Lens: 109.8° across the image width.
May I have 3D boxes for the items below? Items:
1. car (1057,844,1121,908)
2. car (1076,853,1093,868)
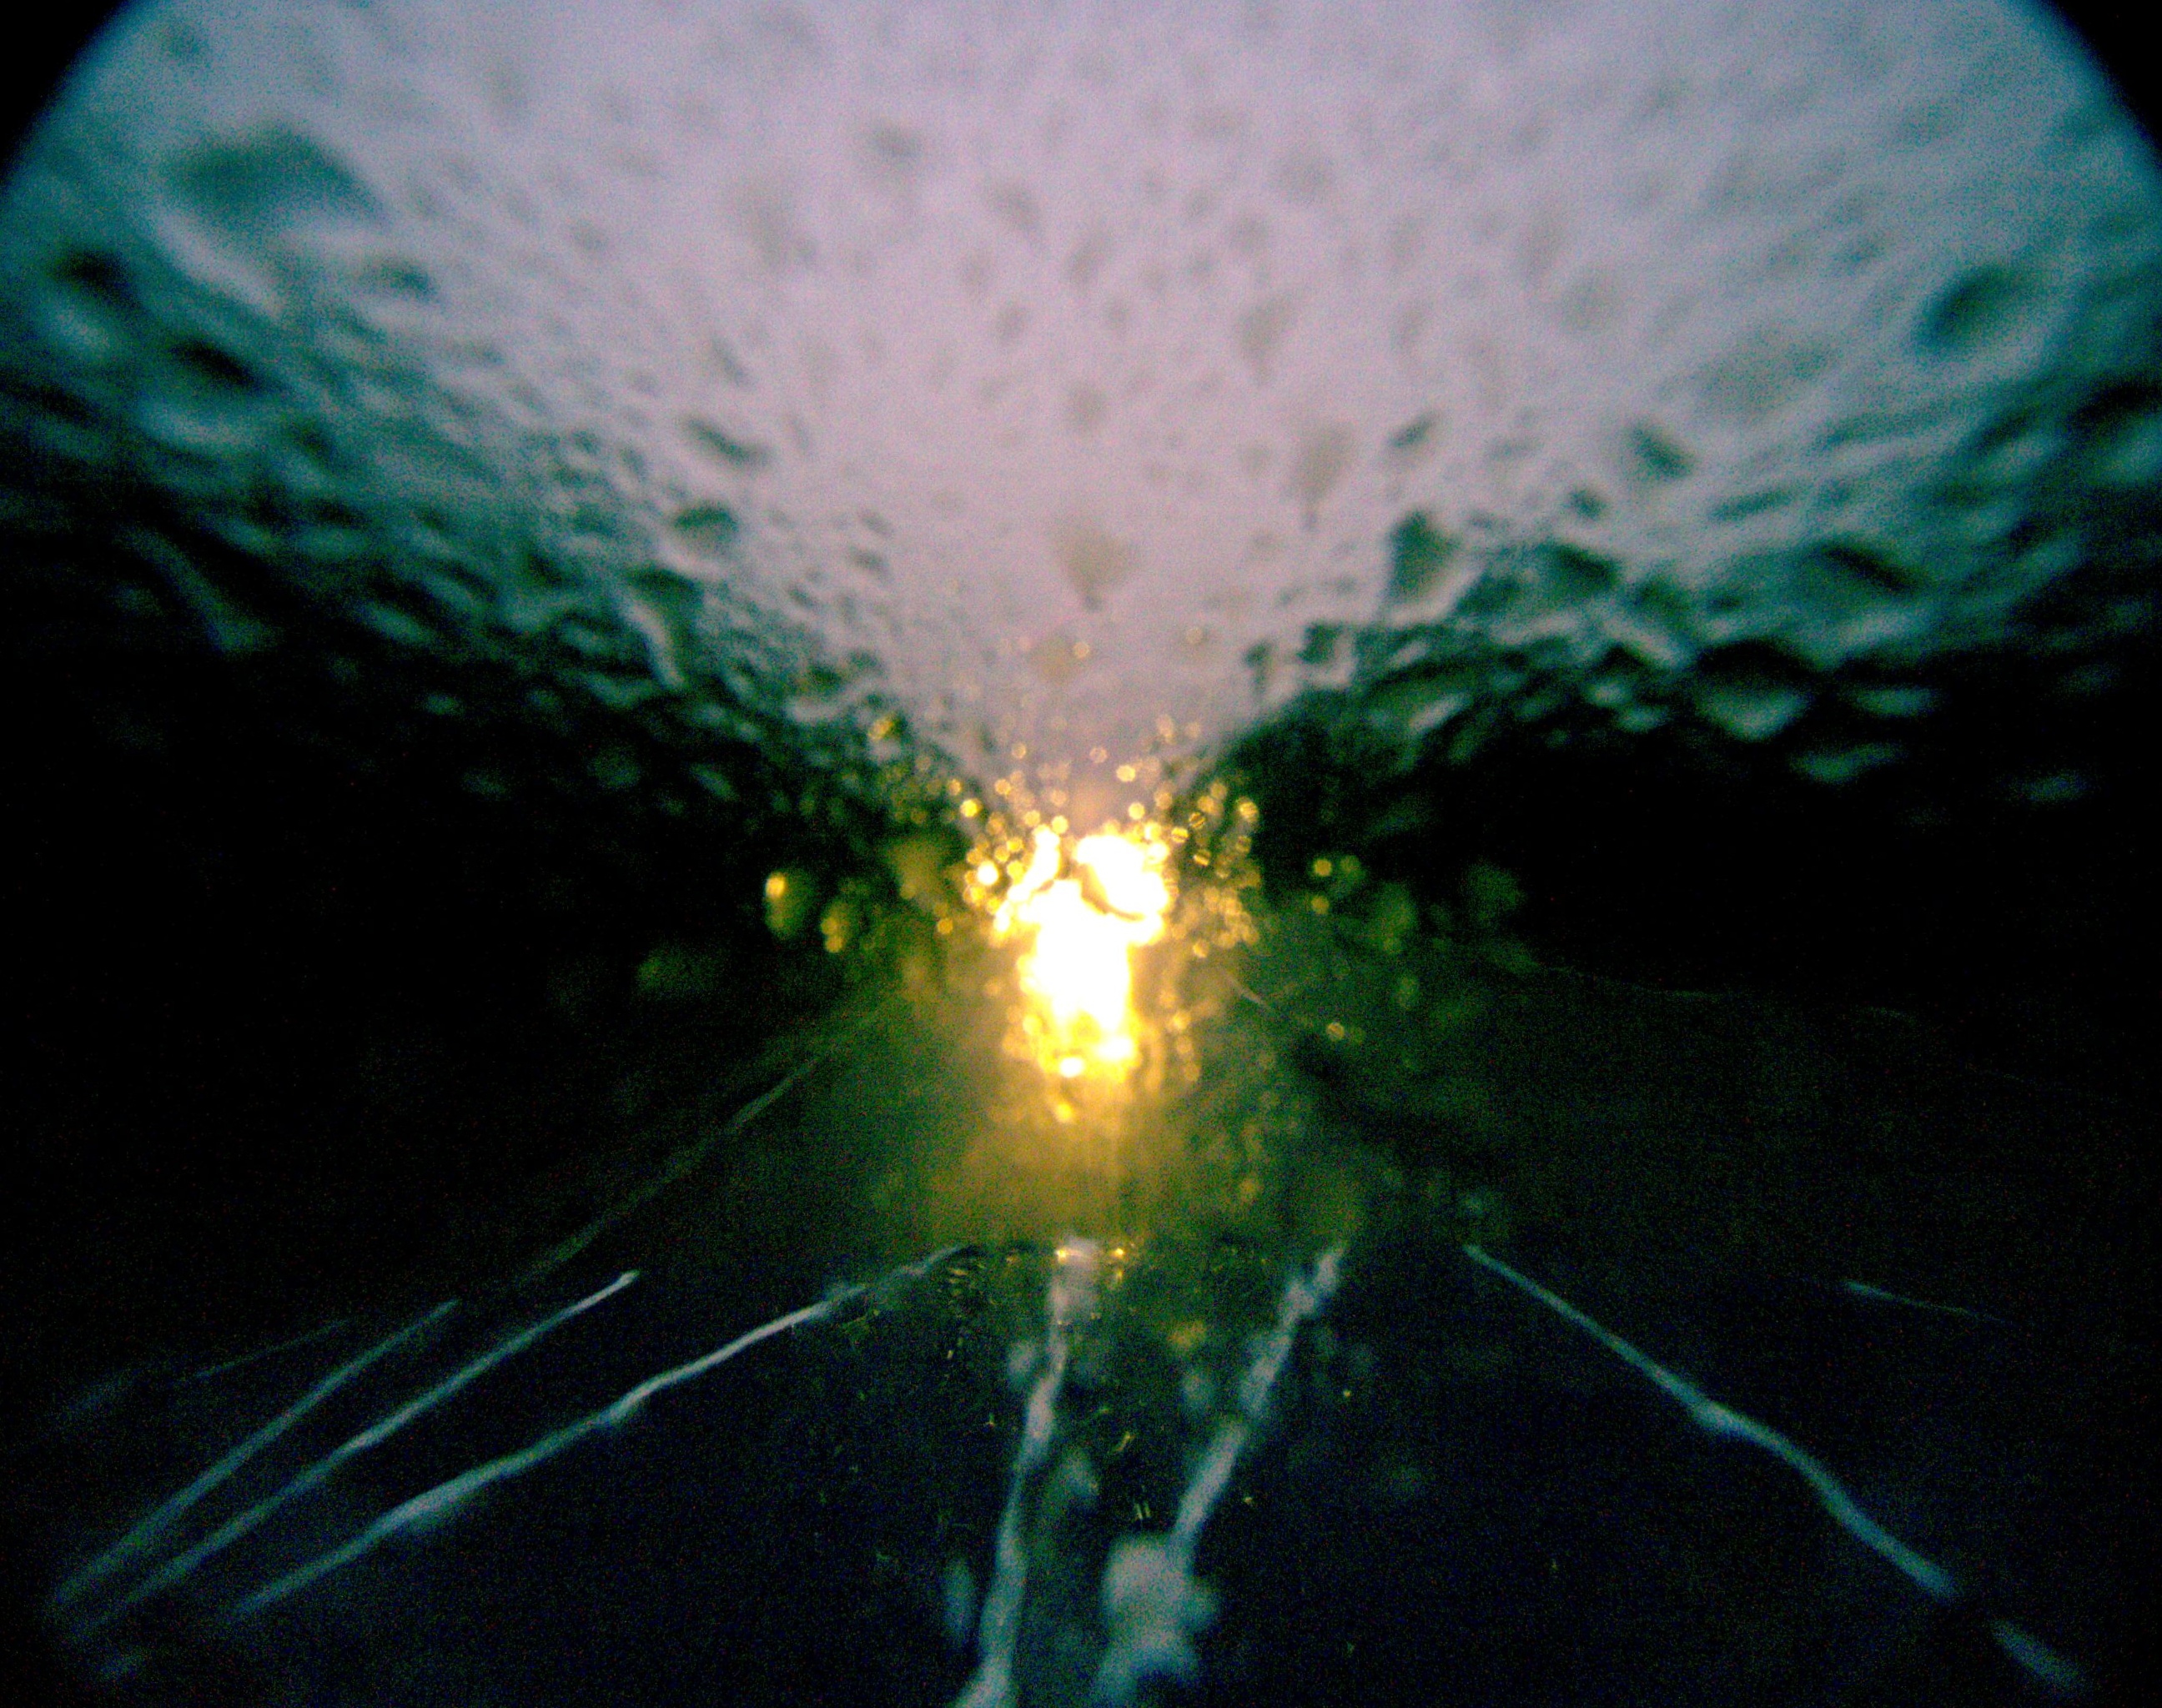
[{"bbox_3d":[0.323,0.593,22.898,1.572,1.701,4.001,-2,1,5],"label":"car"},{"bbox_3d":[0.489,0.773,95.863,1.998,1.752,4.371,-2,1,1],"label":"car"}]
